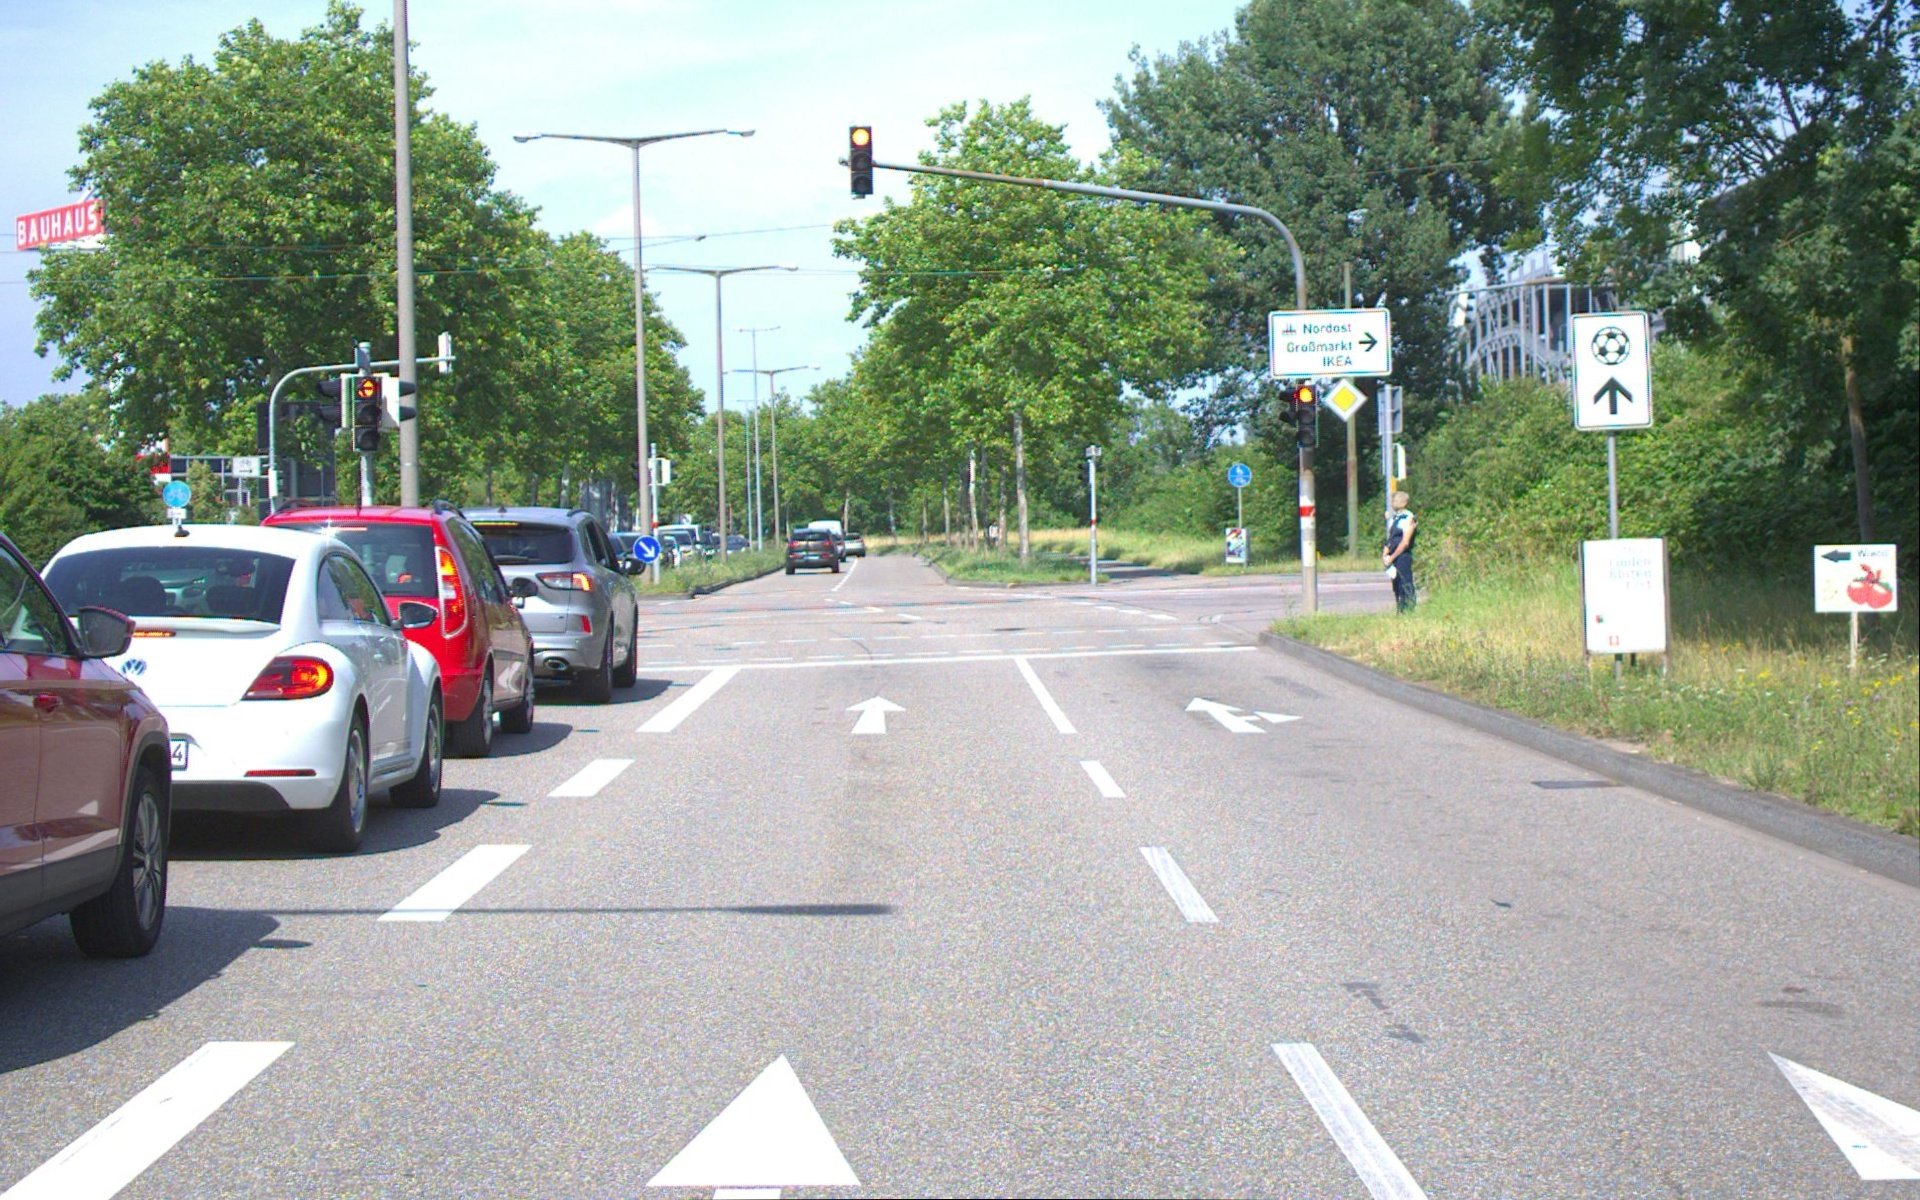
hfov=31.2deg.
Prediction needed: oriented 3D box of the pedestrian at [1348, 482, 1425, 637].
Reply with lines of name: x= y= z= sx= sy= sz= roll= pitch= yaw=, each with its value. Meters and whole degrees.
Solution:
pedestrian: x=5.442 y=-0.523 z=43.861 sx=0.837 sy=1.926 sz=0.772 roll=-1 pitch=3 yaw=-4

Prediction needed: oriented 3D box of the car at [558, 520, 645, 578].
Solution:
car: x=-9.596 y=-1.386 z=92.269 sx=1.993 sy=1.495 sz=4.001 roll=-1 pitch=1 yaw=-1

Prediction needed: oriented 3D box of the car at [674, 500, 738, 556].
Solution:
car: x=-8.892 y=-2.551 z=120.700 sx=1.993 sy=1.889 sz=4.376 roll=-1 pitch=1 yaw=-2

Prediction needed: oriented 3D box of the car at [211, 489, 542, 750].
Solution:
car: x=-3.863 y=0.109 z=23.334 sx=1.628 sy=1.590 sz=3.918 roll=-1 pitch=0 yaw=-1

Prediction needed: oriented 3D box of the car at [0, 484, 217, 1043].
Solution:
car: x=-3.638 y=0.446 z=10.597 sx=1.782 sy=1.587 sz=4.594 roll=0 pitch=1 yaw=-1

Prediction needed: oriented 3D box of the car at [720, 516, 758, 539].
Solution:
car: x=-16.698 y=-5.454 z=259.419 sx=1.865 sy=1.689 sz=4.411 roll=-2 pitch=2 yaw=-17

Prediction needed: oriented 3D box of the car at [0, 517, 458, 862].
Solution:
car: x=-3.603 y=0.338 z=16.842 sx=1.766 sy=1.474 sz=4.136 roll=0 pitch=1 yaw=-1

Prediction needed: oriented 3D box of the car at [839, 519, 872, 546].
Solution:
car: x=-6.365 y=-4.093 z=208.921 sx=1.867 sy=1.568 sz=4.000 roll=-2 pitch=1 yaw=-1

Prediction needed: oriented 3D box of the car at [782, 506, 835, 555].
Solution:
car: x=-5.354 y=-2.475 z=121.795 sx=1.736 sy=1.530 sz=4.001 roll=-1 pitch=4 yaw=0

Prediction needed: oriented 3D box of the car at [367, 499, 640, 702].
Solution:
car: x=-3.886 y=-0.042 z=29.892 sx=1.881 sy=1.612 sz=4.213 roll=-1 pitch=1 yaw=-1

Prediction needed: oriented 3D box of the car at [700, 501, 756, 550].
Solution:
car: x=-9.199 y=-2.970 z=136.624 sx=1.993 sy=1.889 sz=4.376 roll=-1 pitch=1 yaw=-1
